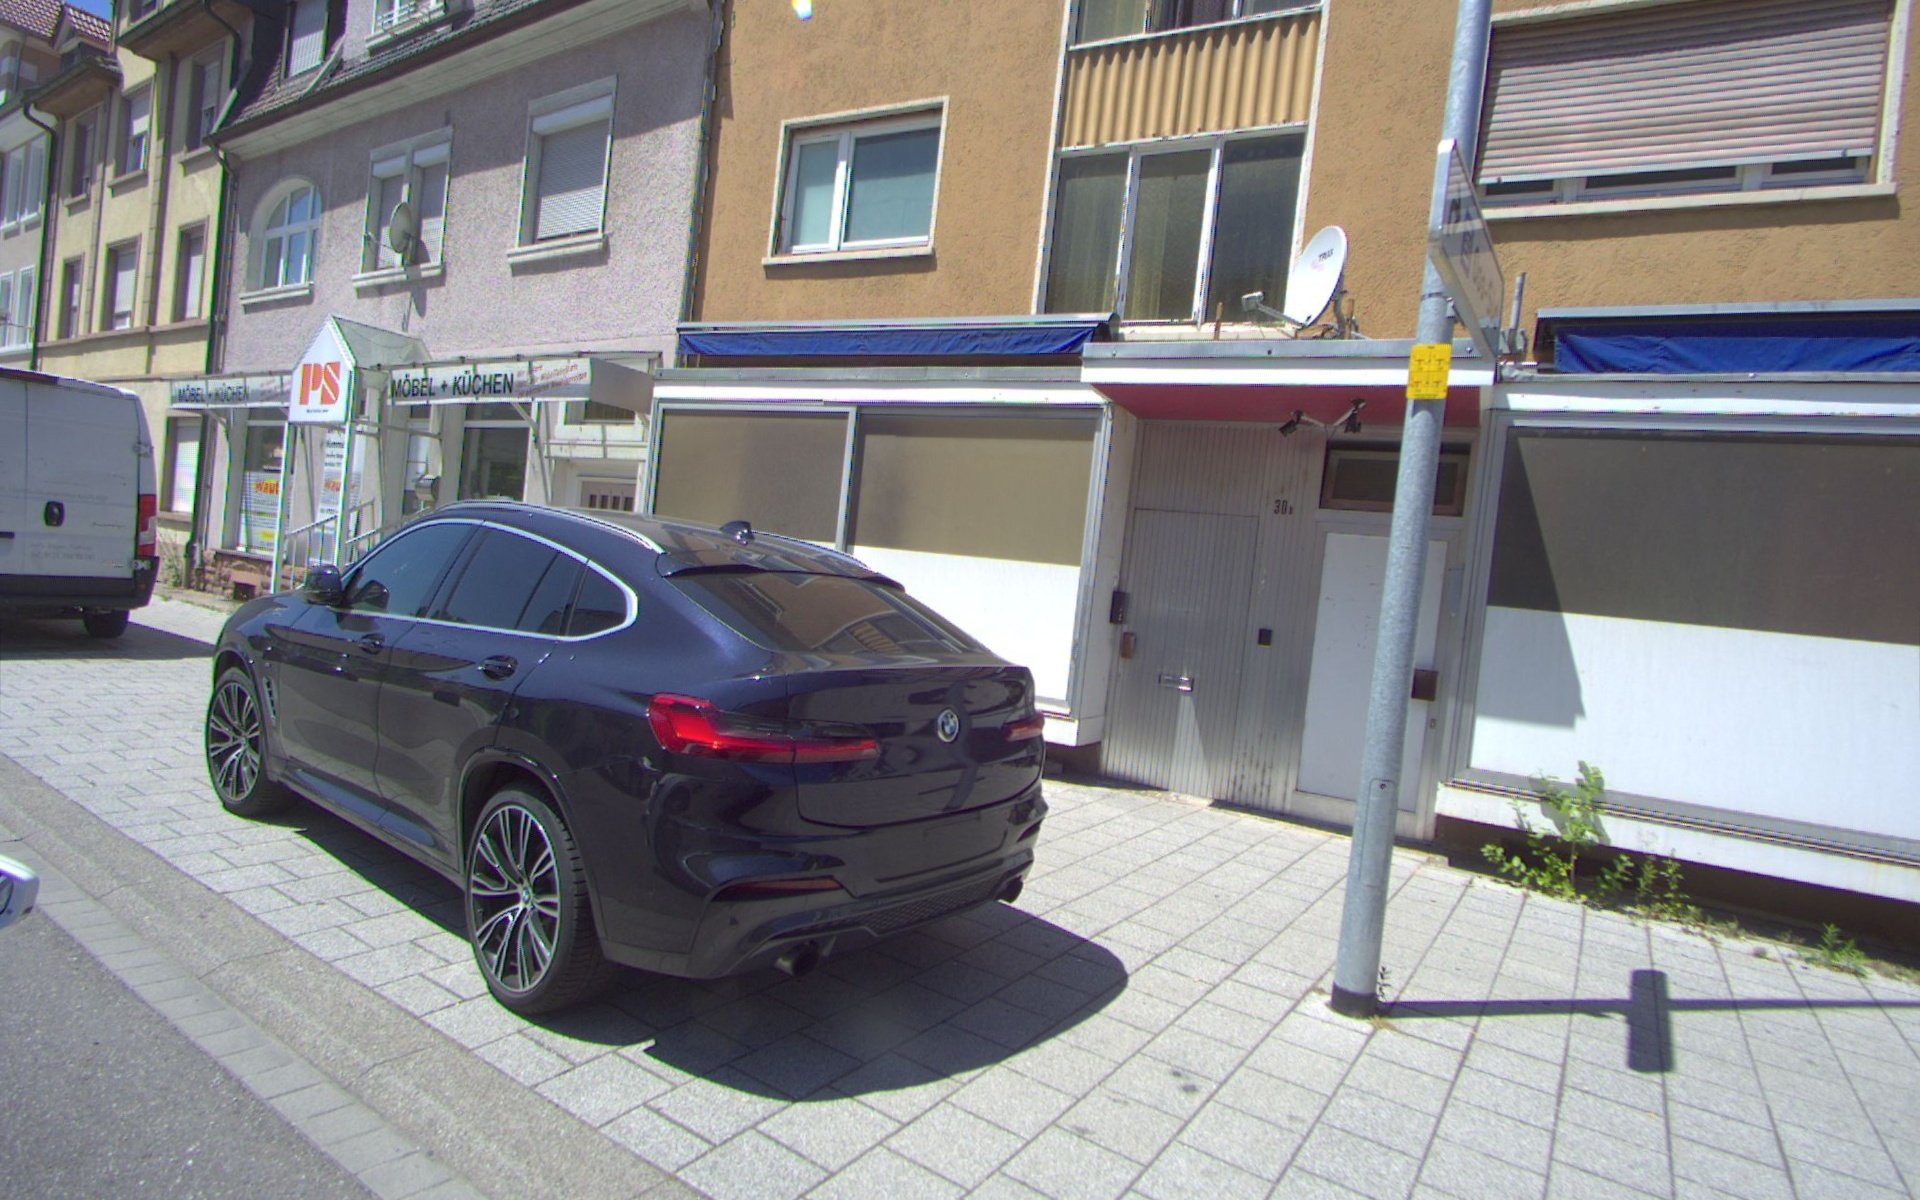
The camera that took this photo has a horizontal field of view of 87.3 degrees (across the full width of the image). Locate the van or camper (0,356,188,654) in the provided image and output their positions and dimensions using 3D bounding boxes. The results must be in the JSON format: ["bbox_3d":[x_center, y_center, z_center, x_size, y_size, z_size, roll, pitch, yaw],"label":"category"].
[{"bbox_3d":[-10.744,-1.080,10.619,5.670,2.623,2.165,6,2,32],"label":"van or camper"}]

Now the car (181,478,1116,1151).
[{"bbox_3d":[-1.707,0.405,4.531,4.301,1.629,1.892,6,2,39],"label":"car"}]
